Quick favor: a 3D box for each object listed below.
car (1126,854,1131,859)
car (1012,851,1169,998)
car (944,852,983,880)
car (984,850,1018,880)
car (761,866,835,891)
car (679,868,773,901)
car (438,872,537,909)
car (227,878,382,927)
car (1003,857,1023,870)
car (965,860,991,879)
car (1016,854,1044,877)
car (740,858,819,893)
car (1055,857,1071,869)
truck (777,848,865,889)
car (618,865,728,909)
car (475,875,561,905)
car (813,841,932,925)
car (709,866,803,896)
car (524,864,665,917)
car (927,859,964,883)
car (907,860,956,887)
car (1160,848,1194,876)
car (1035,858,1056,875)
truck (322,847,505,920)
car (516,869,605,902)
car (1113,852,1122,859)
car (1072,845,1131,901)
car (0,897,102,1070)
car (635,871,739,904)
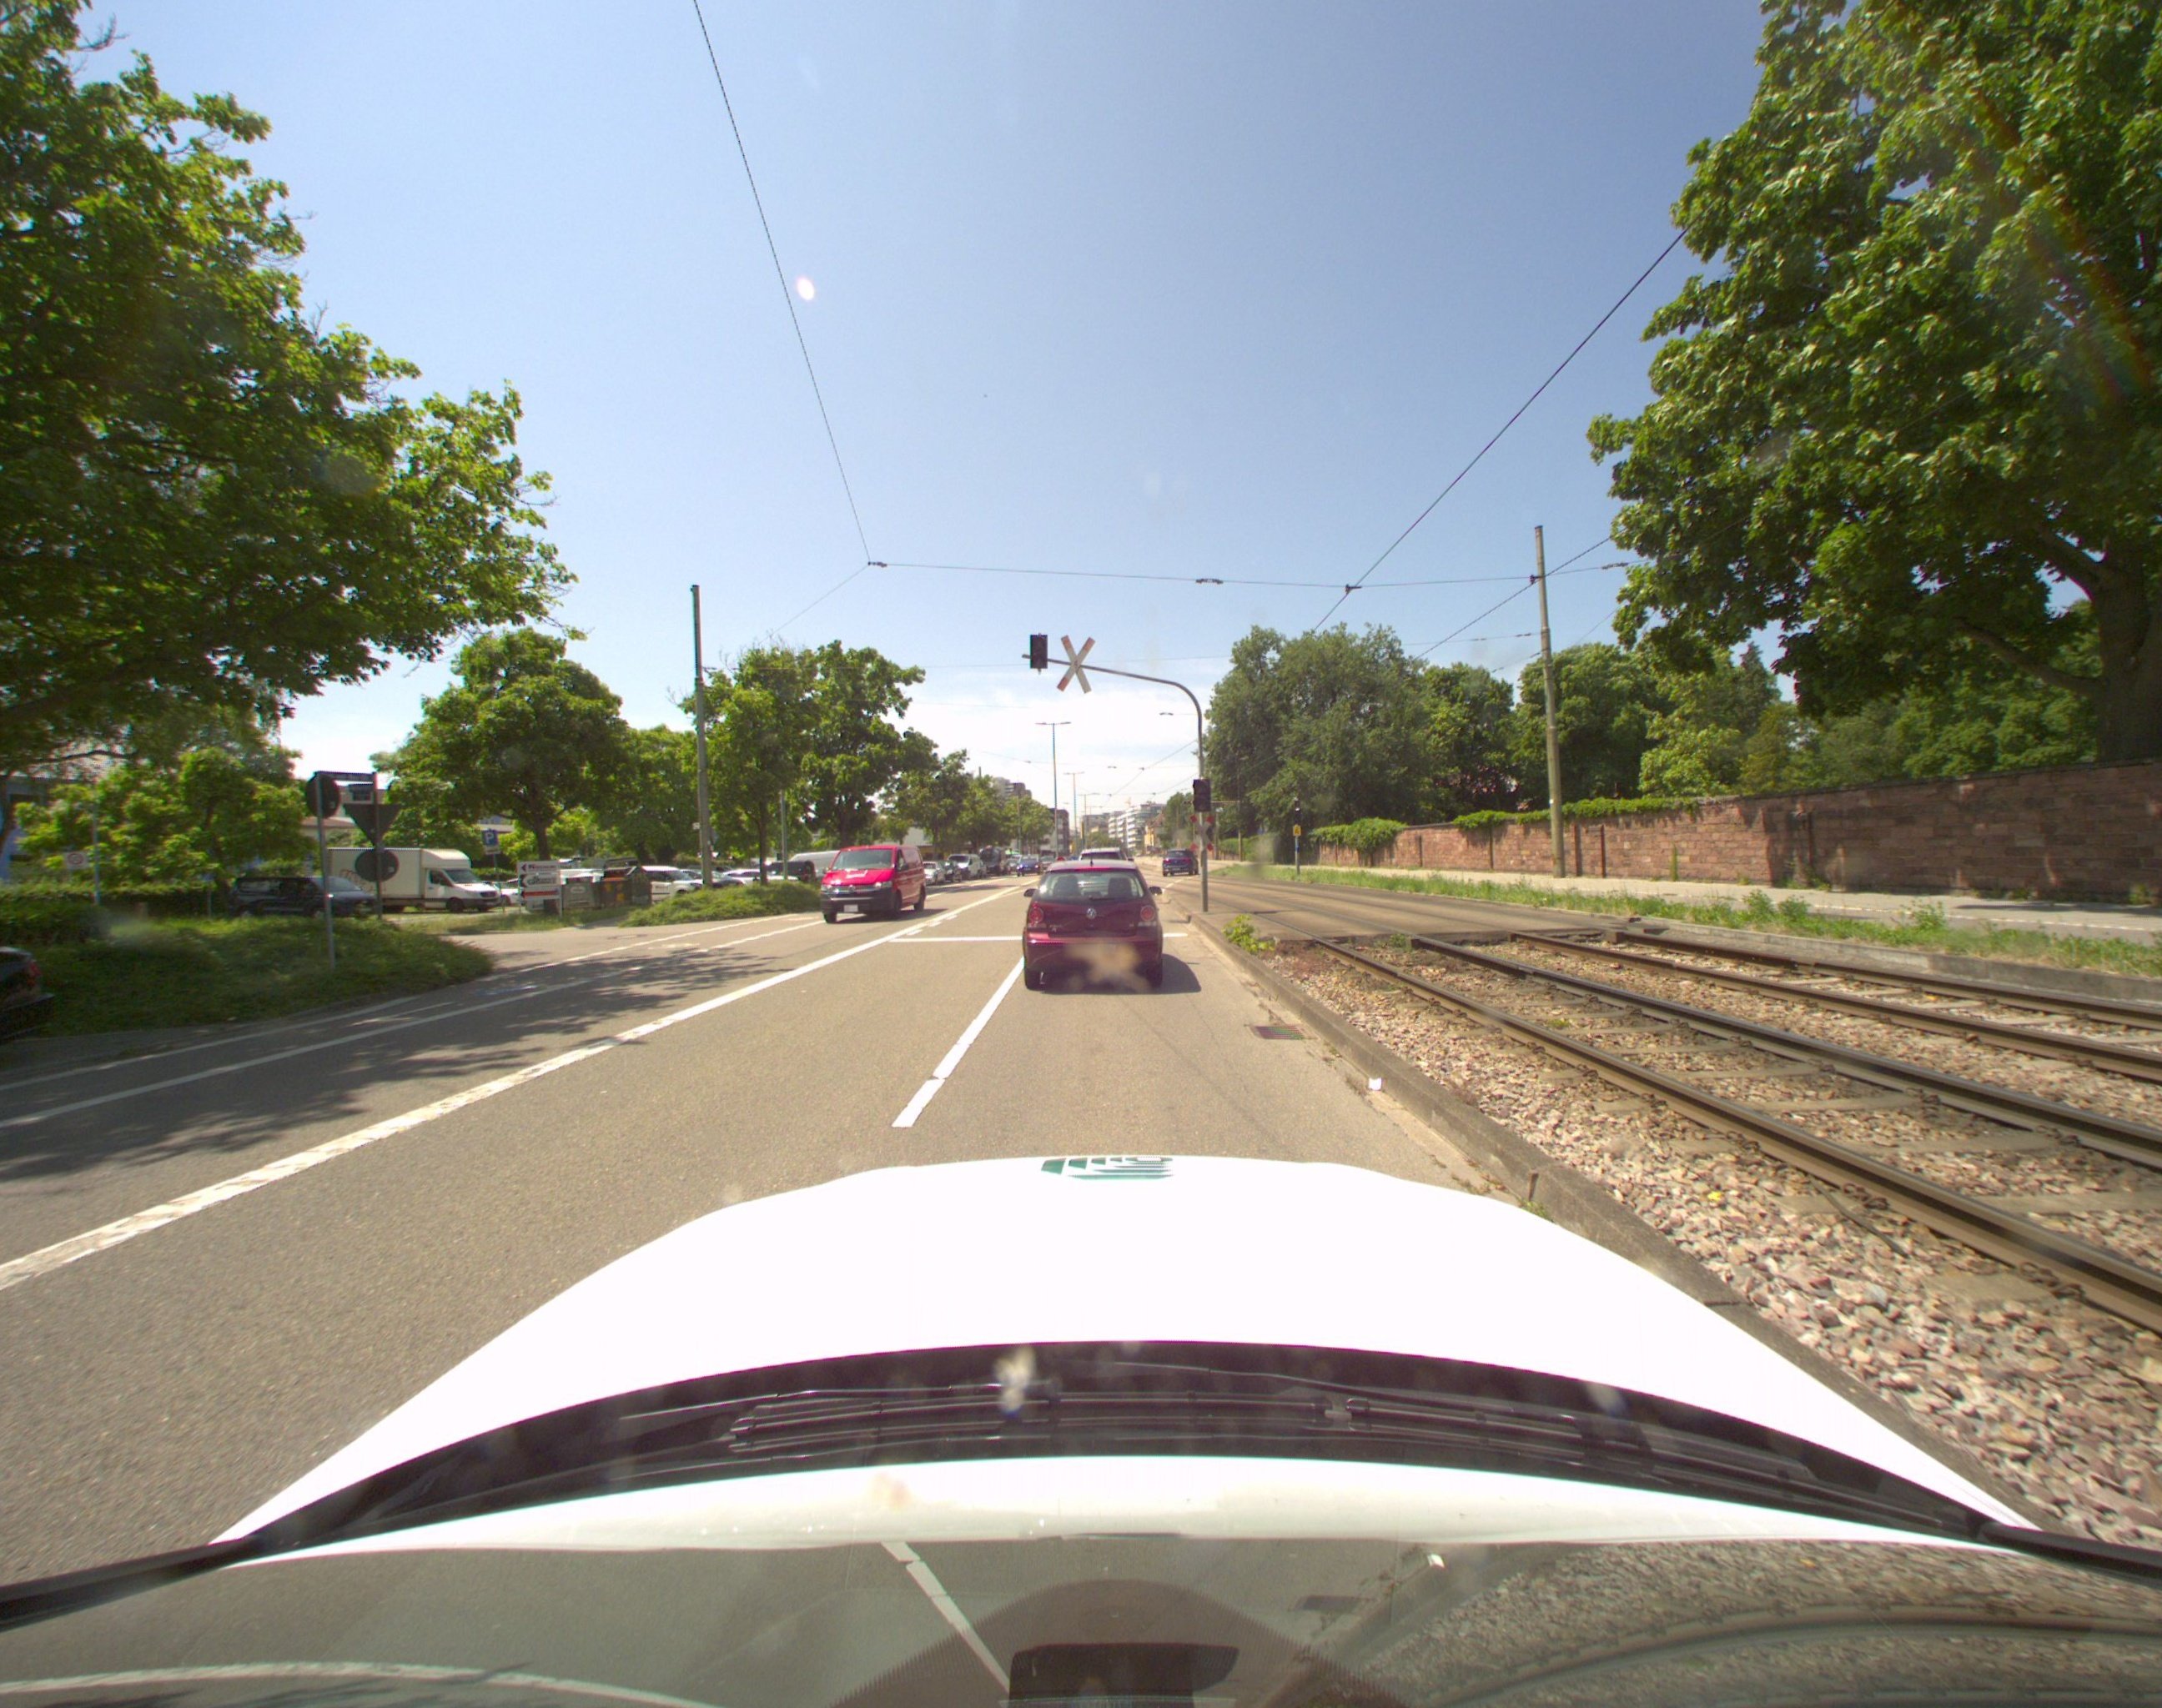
[{"bbox_3d":[12.726,0.613,216.933,1.348,1.252,2.973,-1,0,2],"label":"car"},{"bbox_3d":[0.193,0.770,10.754,1.603,1.498,4.002,-3,0,2],"label":"car"},{"bbox_3d":[-8.597,0.849,59.923,1.854,1.937,4.810,1,0,4],"label":"car"},{"bbox_3d":[-7.385,0.995,75.841,2.389,2.656,6.175,1,0,2],"label":"car"},{"bbox_3d":[-18.821,1.628,54.251,4.196,1.411,1.856,-2,0,0],"label":"car"},{"bbox_3d":[-18.958,1.627,43.610,4.104,1.508,1.934,-2,0,3],"label":"car"},{"bbox_3d":[-32.337,1.959,44.452,4.113,1.820,1.647,-2,0,0],"label":"car"},{"bbox_3d":[-32.347,1.992,34.023,4.686,1.820,1.942,-2,0,3],"label":"car"},{"bbox_3d":[-7.493,1.015,89.633,1.624,1.420,3.871,0,0,4],"label":"car"},{"bbox_3d":[-8.172,1.191,65.028,1.400,1.440,3.841,1,0,2],"label":"car"},{"bbox_3d":[-4.005,0.882,64.380,1.731,1.656,4.068,-3,0,1],"label":"car"},{"bbox_3d":[-19.133,1.329,51.772,4.196,1.995,1.856,-2,0,0],"label":"car"},{"bbox_3d":[-2.195,1.103,100.042,1.642,1.376,3.812,-4,-1,2],"label":"car"},{"bbox_3d":[-19.020,1.036,59.794,5.556,2.759,2.434,-2,0,2],"label":"truck"},{"bbox_3d":[-19.068,1.513,38.128,4.248,1.835,1.675,-2,0,3],"label":"car"},{"bbox_3d":[-32.664,2.058,47.292,3.734,1.576,1.733,-2,0,0],"label":"car"},{"bbox_3d":[-5.508,0.705,22.165,1.893,1.926,4.819,-3,0,0],"label":"car"},{"bbox_3d":[-19.471,1.597,48.949,4.746,1.488,2.058,-2,0,0],"label":"car"},{"bbox_3d":[-19.864,1.456,33.422,4.437,1.857,2.059,-2,0,-3],"label":"car"},{"bbox_3d":[-8.994,1.135,54.380,1.607,1.484,3.788,1,0,4],"label":"car"},{"bbox_3d":[-9.013,1.140,49.486,1.711,1.427,4.775,-3,0,3],"label":"car"},{"bbox_3d":[6.002,0.460,50.478,1.762,1.630,4.013,-1,0,11],"label":"car"},{"bbox_3d":[-3.595,1.222,82.654,1.731,1.575,3.714,-3,0,1],"label":"car"},{"bbox_3d":[-32.322,1.384,39.576,6.955,3.227,2.150,-2,0,-1],"label":"truck"},{"bbox_3d":[-31.723,1.901,49.690,4.113,1.820,1.971,-2,0,0],"label":"car"},{"bbox_3d":[9.828,0.442,220.928,1.914,1.910,4.565,-2,0,-3],"label":"car"},{"bbox_3d":[0.708,0.580,26.992,1.788,1.683,4.002,-1,0,2],"label":"car"},{"bbox_3d":[-10.299,1.161,5.371,1.888,1.456,4.808,-1,0,-1],"label":"car"},{"bbox_3d":[-19.761,1.672,41.002,4.186,1.403,2.079,-2,0,-3],"label":"car"}]
